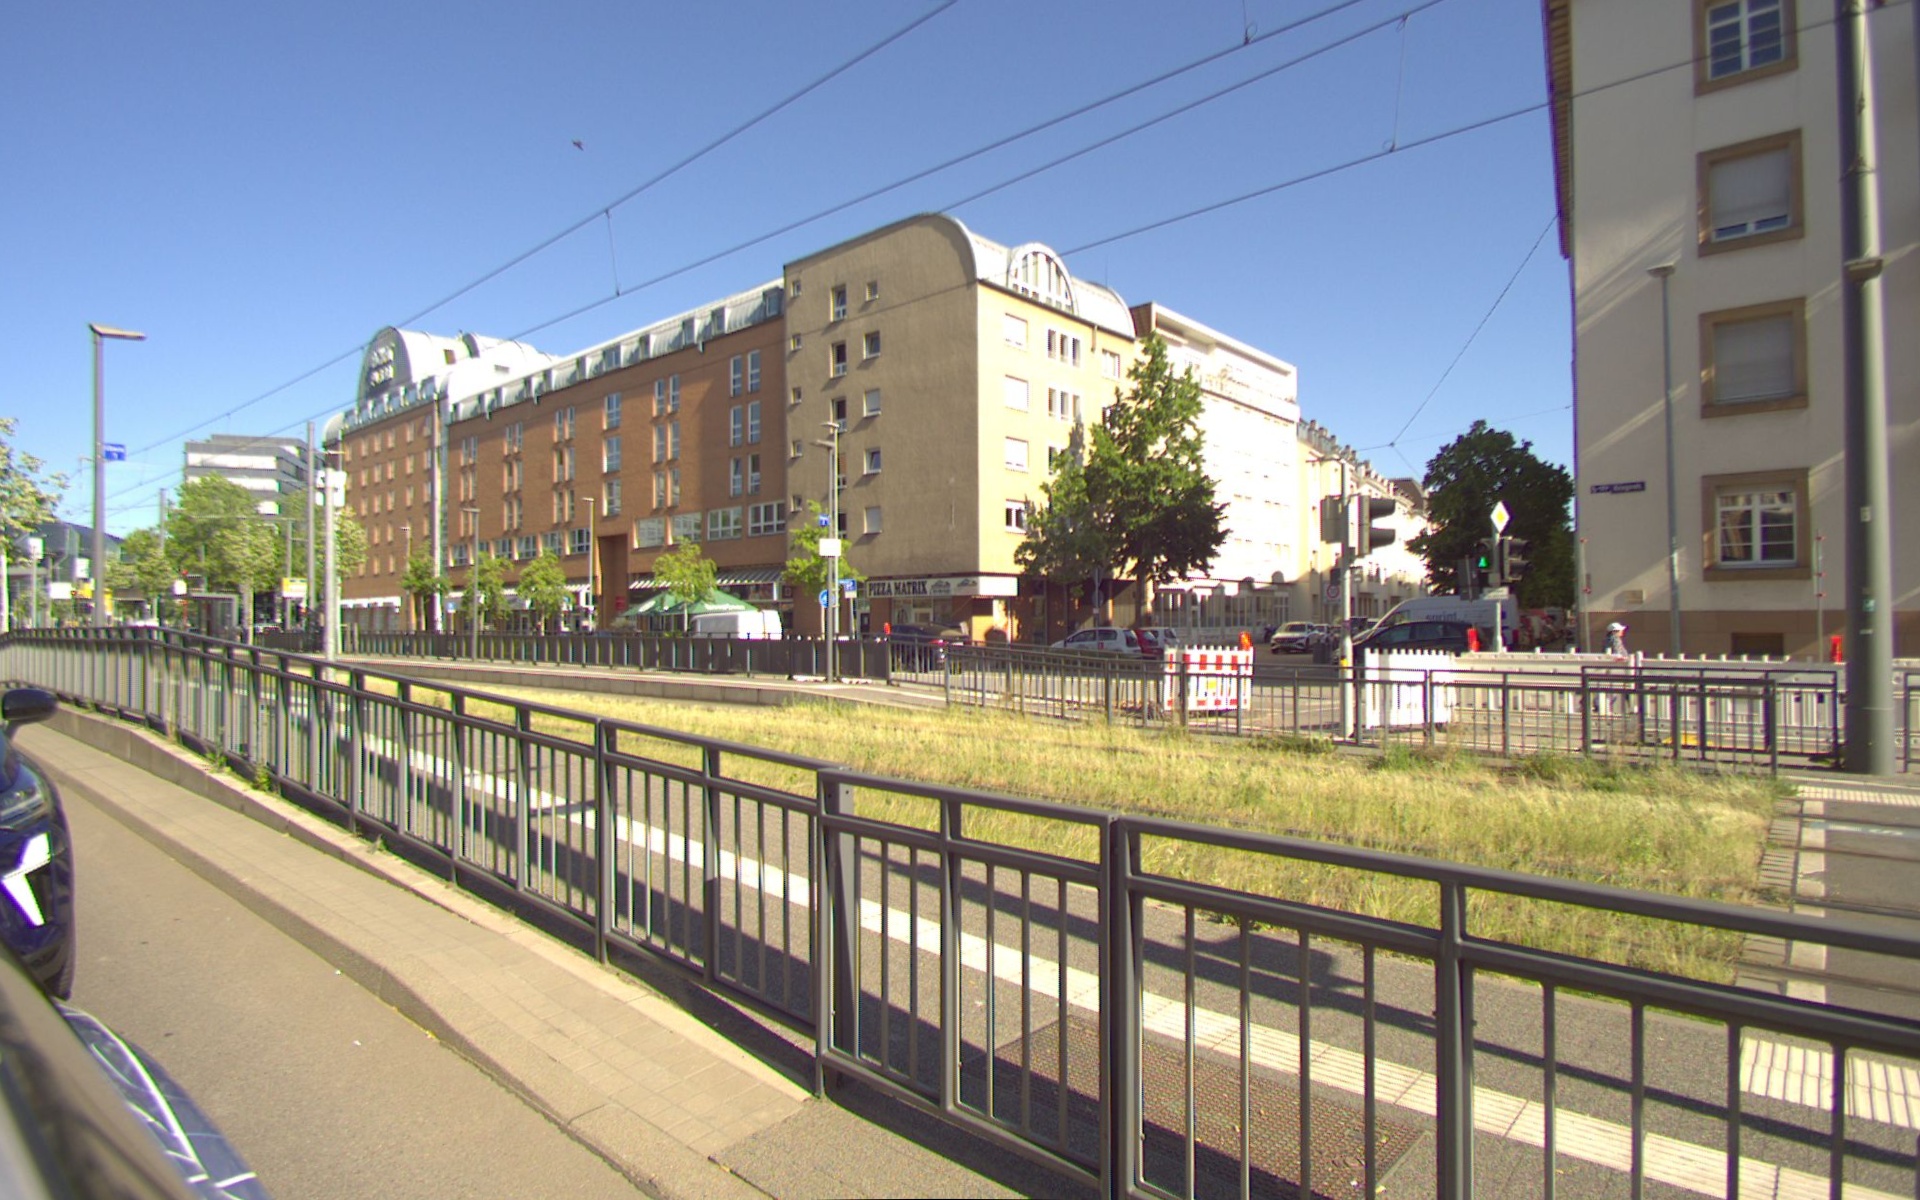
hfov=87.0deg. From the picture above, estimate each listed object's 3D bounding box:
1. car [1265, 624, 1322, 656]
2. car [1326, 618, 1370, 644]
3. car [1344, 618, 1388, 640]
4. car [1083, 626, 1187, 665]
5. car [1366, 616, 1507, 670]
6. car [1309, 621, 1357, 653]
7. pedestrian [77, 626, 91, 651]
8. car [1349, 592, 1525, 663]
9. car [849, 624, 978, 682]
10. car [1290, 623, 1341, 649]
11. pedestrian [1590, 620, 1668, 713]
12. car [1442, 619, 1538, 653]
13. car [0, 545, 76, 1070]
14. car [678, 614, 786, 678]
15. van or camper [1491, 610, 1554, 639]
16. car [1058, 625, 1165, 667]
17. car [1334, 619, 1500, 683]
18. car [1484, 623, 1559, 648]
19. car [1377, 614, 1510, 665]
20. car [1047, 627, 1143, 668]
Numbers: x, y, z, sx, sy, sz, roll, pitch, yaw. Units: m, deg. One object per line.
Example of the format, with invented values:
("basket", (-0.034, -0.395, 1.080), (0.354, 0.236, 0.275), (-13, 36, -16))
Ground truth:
("car", (17.736, 2.102, 53.708), (1.993, 1.630, 4.141), (-1, -2, 31))
("car", (25.294, 2.007, 65.864), (1.993, 1.630, 4.141), (-1, -2, 31))
("car", (28.280, 2.037, 70.433), (1.995, 1.473, 4.137), (-1, -2, 34))
("car", (7.334, 1.872, 42.594), (3.997, 1.497, 1.693), (-1, 0, 40))
("car", (15.700, 1.361, 33.381), (3.989, 1.652, 1.848), (-1, 0, 33))
("car", (22.798, 2.223, 61.816), (1.839, 1.730, 4.033), (-1, 0, 34))
("pedestrian", (-68.756, 3.015, 79.405), (0.810, 1.903, 0.770), (1, -2, -41))
("car", (17.647, 0.975, 37.580), (5.737, 2.473, 1.979), (-1, 0, 32))
("car", (-1.509, 1.623, 32.042), (3.996, 1.652, 1.677), (-1, 0, 39))
("car", (20.516, 2.087, 58.289), (1.993, 1.457, 4.141), (-1, -2, 31))
("pedestrian", (11.258, 1.106, 17.038), (0.792, 1.515, 0.713), (0, -2, -17))
("car", (25.751, 1.726, 49.189), (3.988, 1.567, 1.848), (-1, 0, 33))
("car", (-5.053, 0.706, 4.005), (4.418, 1.597, 1.736), (-2, 1, 41))
("car", (-9.088, 1.750, 40.005), (1.969, 2.314, 5.197), (-1, 0, -41))
("van or camper", (44.862, 1.904, 80.767), (4.332, 2.231, 1.931), (-1, 0, 32))
("car", (6.025, 1.793, 40.376), (3.955, 1.564, 1.457), (-1, 0, 33))
("car", (12.972, 1.398, 28.816), (3.994, 1.652, 1.846), (-1, 0, 37))
("car", (34.985, 2.182, 63.068), (3.986, 1.440, 1.760), (-1, 0, 32))
("car", (16.826, 1.345, 35.269), (3.989, 1.652, 1.848), (-1, 0, 33))
("car", (5.094, 1.778, 38.351), (3.334, 1.438, 1.424), (-1, 0, 29))
